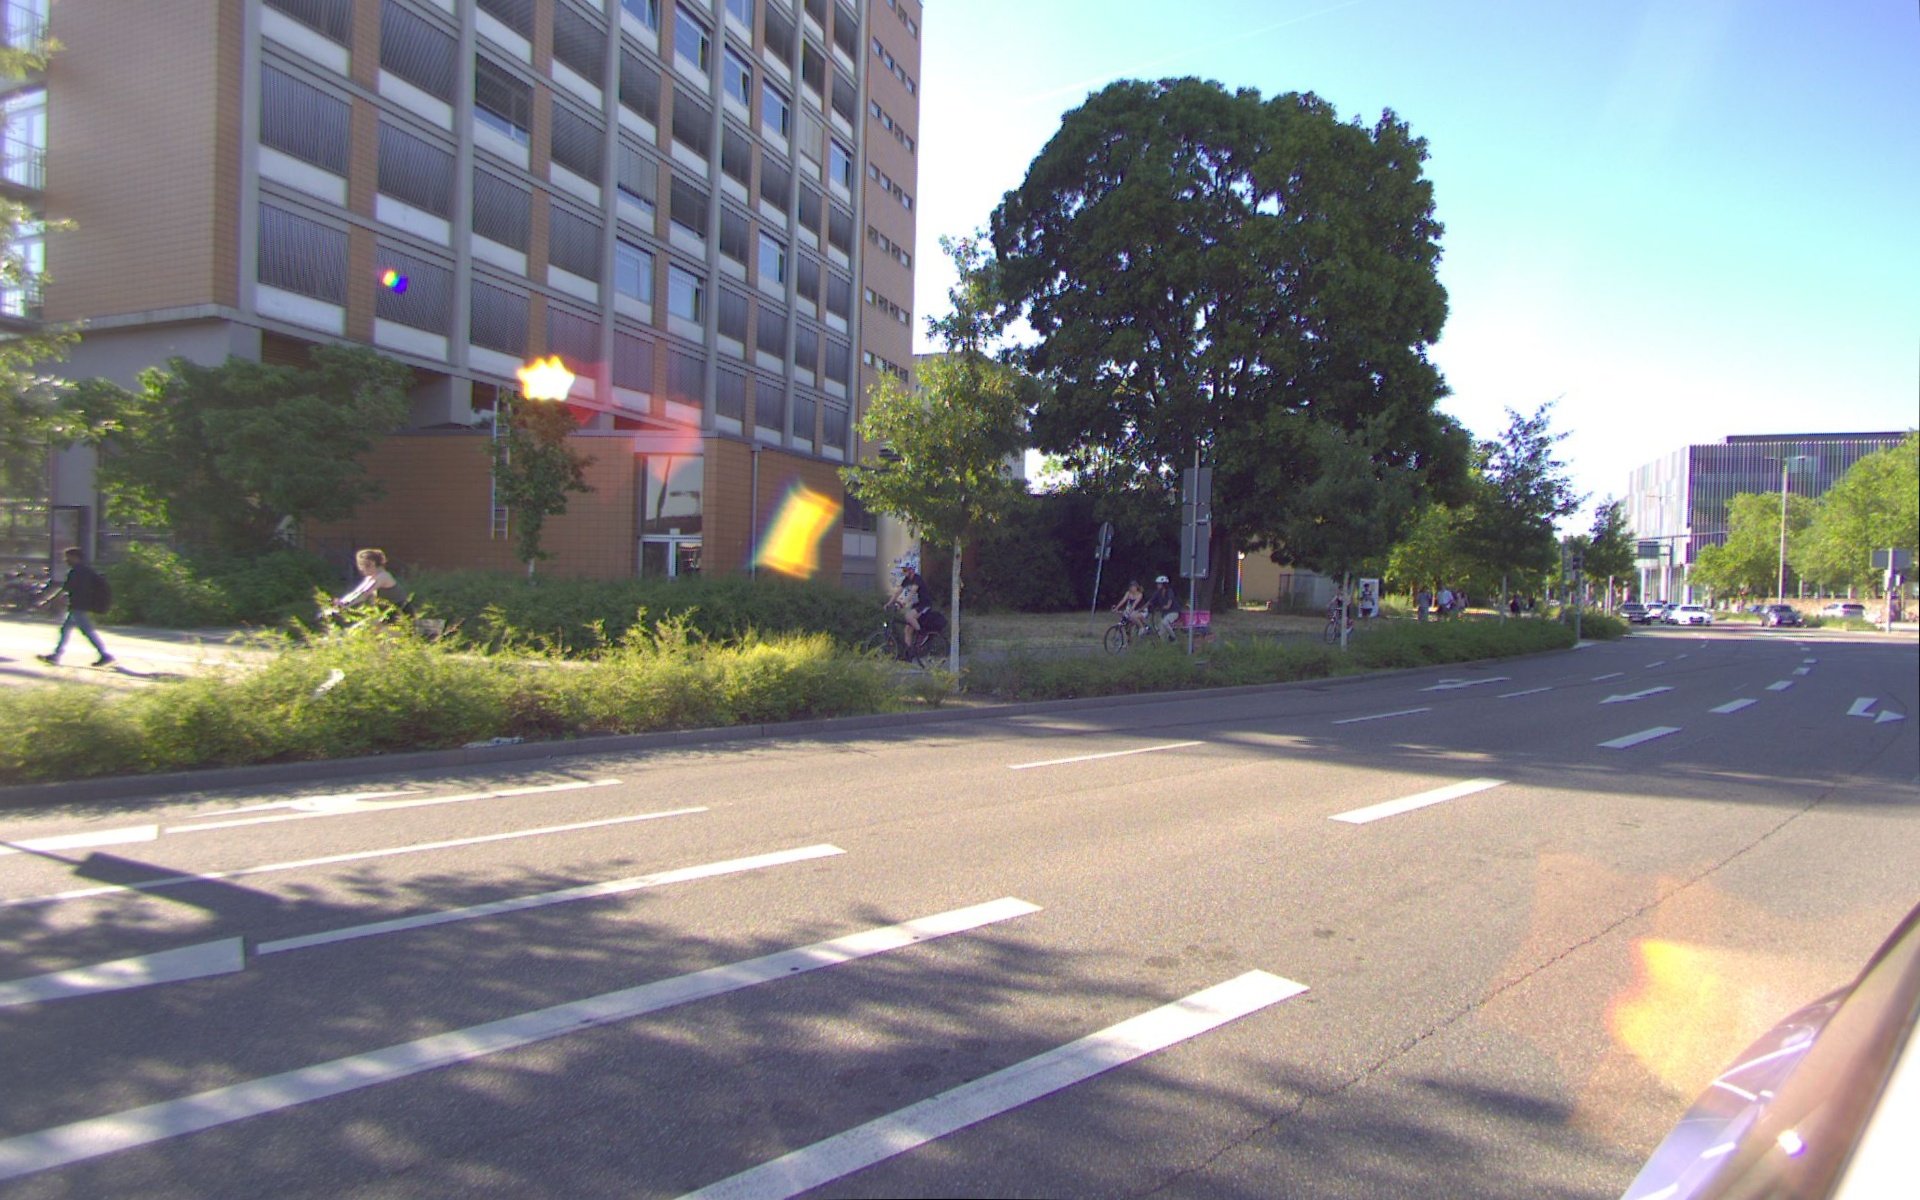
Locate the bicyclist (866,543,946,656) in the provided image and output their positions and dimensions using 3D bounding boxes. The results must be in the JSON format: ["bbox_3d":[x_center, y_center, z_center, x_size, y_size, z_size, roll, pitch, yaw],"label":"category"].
[{"bbox_3d":[-0.920,-0.022,17.156,1.075,1.853,0.779,1,1,-44],"label":"bicyclist"}]

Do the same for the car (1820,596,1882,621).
[{"bbox_3d":[64.382,0.582,73.217,2.174,1.705,4.564,2,1,26],"label":"car"}]

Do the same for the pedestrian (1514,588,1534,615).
[{"bbox_3d":[37.090,0.092,66.554,1.006,1.771,0.844,2,1,21],"label":"pedestrian"}]

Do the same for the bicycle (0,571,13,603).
[{"bbox_3d":[-26.226,-0.354,26.786,0.523,0.868,1.642,2,1,21],"label":"bicycle"}]

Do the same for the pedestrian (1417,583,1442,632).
[{"bbox_3d":[18.319,0.293,39.507,0.609,1.892,0.578,1,1,-13],"label":"pedestrian"}]

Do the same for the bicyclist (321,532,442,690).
[{"bbox_3d":[-6.677,0.104,11.674,1.073,1.697,0.780,1,4,-39],"label":"bicyclist"}]

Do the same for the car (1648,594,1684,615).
[{"bbox_3d":[55.775,0.356,80.055,1.909,1.538,3.976,2,1,29],"label":"car"}]

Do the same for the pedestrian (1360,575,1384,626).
[{"bbox_3d":[14.345,0.015,35.264,0.619,1.720,0.622,2,1,35],"label":"pedestrian"}]

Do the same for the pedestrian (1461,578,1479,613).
[{"bbox_3d":[25.586,-0.220,50.761,0.668,1.725,0.871,2,1,21],"label":"pedestrian"}]

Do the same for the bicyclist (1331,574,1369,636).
[{"bbox_3d":[11.431,0.144,29.686,0.834,1.811,0.716,0,-1,-40],"label":"bicyclist"}]

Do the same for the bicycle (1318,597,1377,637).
[{"bbox_3d":[11.366,0.486,29.638,2.030,1.135,0.718,0,0,-40],"label":"bicycle"}]

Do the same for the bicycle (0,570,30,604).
[{"bbox_3d":[-25.599,-0.346,26.607,0.523,0.868,1.642,2,1,21],"label":"bicycle"}]

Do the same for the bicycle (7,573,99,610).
[{"bbox_3d":[-22.484,-0.223,25.117,0.523,0.868,1.642,2,1,21],"label":"bicycle"}]

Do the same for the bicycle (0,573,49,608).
[{"bbox_3d":[-24.174,-0.246,25.591,0.523,0.868,1.642,2,1,21],"label":"bicycle"}]

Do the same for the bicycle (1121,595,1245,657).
[{"bbox_3d":[4.533,0.512,20.512,2.528,1.170,0.782,1,1,-27],"label":"bicycle"}]

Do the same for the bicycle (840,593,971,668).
[{"bbox_3d":[-0.896,0.490,17.195,2.253,1.170,0.779,0,1,-44],"label":"bicycle"}]

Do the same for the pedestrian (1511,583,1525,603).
[{"bbox_3d":[44.706,-0.564,81.074,0.754,1.562,0.841,2,1,21],"label":"pedestrian"}]

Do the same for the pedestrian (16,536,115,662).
[{"bbox_3d":[-12.372,-0.012,14.029,0.773,1.680,0.810,0,-1,-21],"label":"pedestrian"}]

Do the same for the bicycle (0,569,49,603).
[{"bbox_3d":[-24.918,-0.358,26.406,0.523,0.868,1.642,2,1,21],"label":"bicycle"}]

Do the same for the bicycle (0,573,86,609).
[{"bbox_3d":[-22.997,-0.227,25.330,0.523,0.868,1.642,2,1,21],"label":"bicycle"}]

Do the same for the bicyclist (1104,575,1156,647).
[{"bbox_3d":[3.809,0.240,22.681,0.834,1.568,0.717,3,-1,-38],"label":"bicyclist"}]

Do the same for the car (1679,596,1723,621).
[{"bbox_3d":[49.524,0.530,67.728,1.788,1.538,4.386,2,1,29],"label":"car"}]

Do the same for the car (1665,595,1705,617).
[{"bbox_3d":[53.022,0.420,74.099,1.909,1.538,3.976,2,1,29],"label":"car"}]

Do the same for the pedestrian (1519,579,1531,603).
[{"bbox_3d":[42.406,-0.667,75.967,0.706,1.734,0.727,2,1,27],"label":"pedestrian"}]

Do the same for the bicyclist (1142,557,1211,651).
[{"bbox_3d":[4.363,0.074,20.409,1.071,1.856,0.782,1,1,-27],"label":"bicyclist"}]

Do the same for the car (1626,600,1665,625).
[{"bbox_3d":[46.148,0.816,68.156,1.788,1.538,3.959,2,1,29],"label":"car"}]

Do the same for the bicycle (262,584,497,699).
[{"bbox_3d":[-6.670,0.440,11.712,2.250,1.170,0.780,0,4,-39],"label":"bicycle"}]

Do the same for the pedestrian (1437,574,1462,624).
[{"bbox_3d":[18.829,-0.047,38.931,0.609,1.893,0.578,1,1,-13],"label":"pedestrian"}]

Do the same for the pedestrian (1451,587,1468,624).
[{"bbox_3d":[22.015,0.244,44.596,0.616,1.594,0.633,2,1,27],"label":"pedestrian"}]

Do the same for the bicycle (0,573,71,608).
[{"bbox_3d":[-23.541,-0.244,25.515,0.523,0.868,1.642,2,1,21],"label":"bicycle"}]

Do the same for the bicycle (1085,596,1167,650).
[{"bbox_3d":[3.724,0.526,22.621,1.834,1.136,0.719,3,-1,-38],"label":"bicycle"}]

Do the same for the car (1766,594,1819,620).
[{"bbox_3d":[53.570,0.428,65.205,1.909,1.538,3.976,2,1,29],"label":"car"}]
